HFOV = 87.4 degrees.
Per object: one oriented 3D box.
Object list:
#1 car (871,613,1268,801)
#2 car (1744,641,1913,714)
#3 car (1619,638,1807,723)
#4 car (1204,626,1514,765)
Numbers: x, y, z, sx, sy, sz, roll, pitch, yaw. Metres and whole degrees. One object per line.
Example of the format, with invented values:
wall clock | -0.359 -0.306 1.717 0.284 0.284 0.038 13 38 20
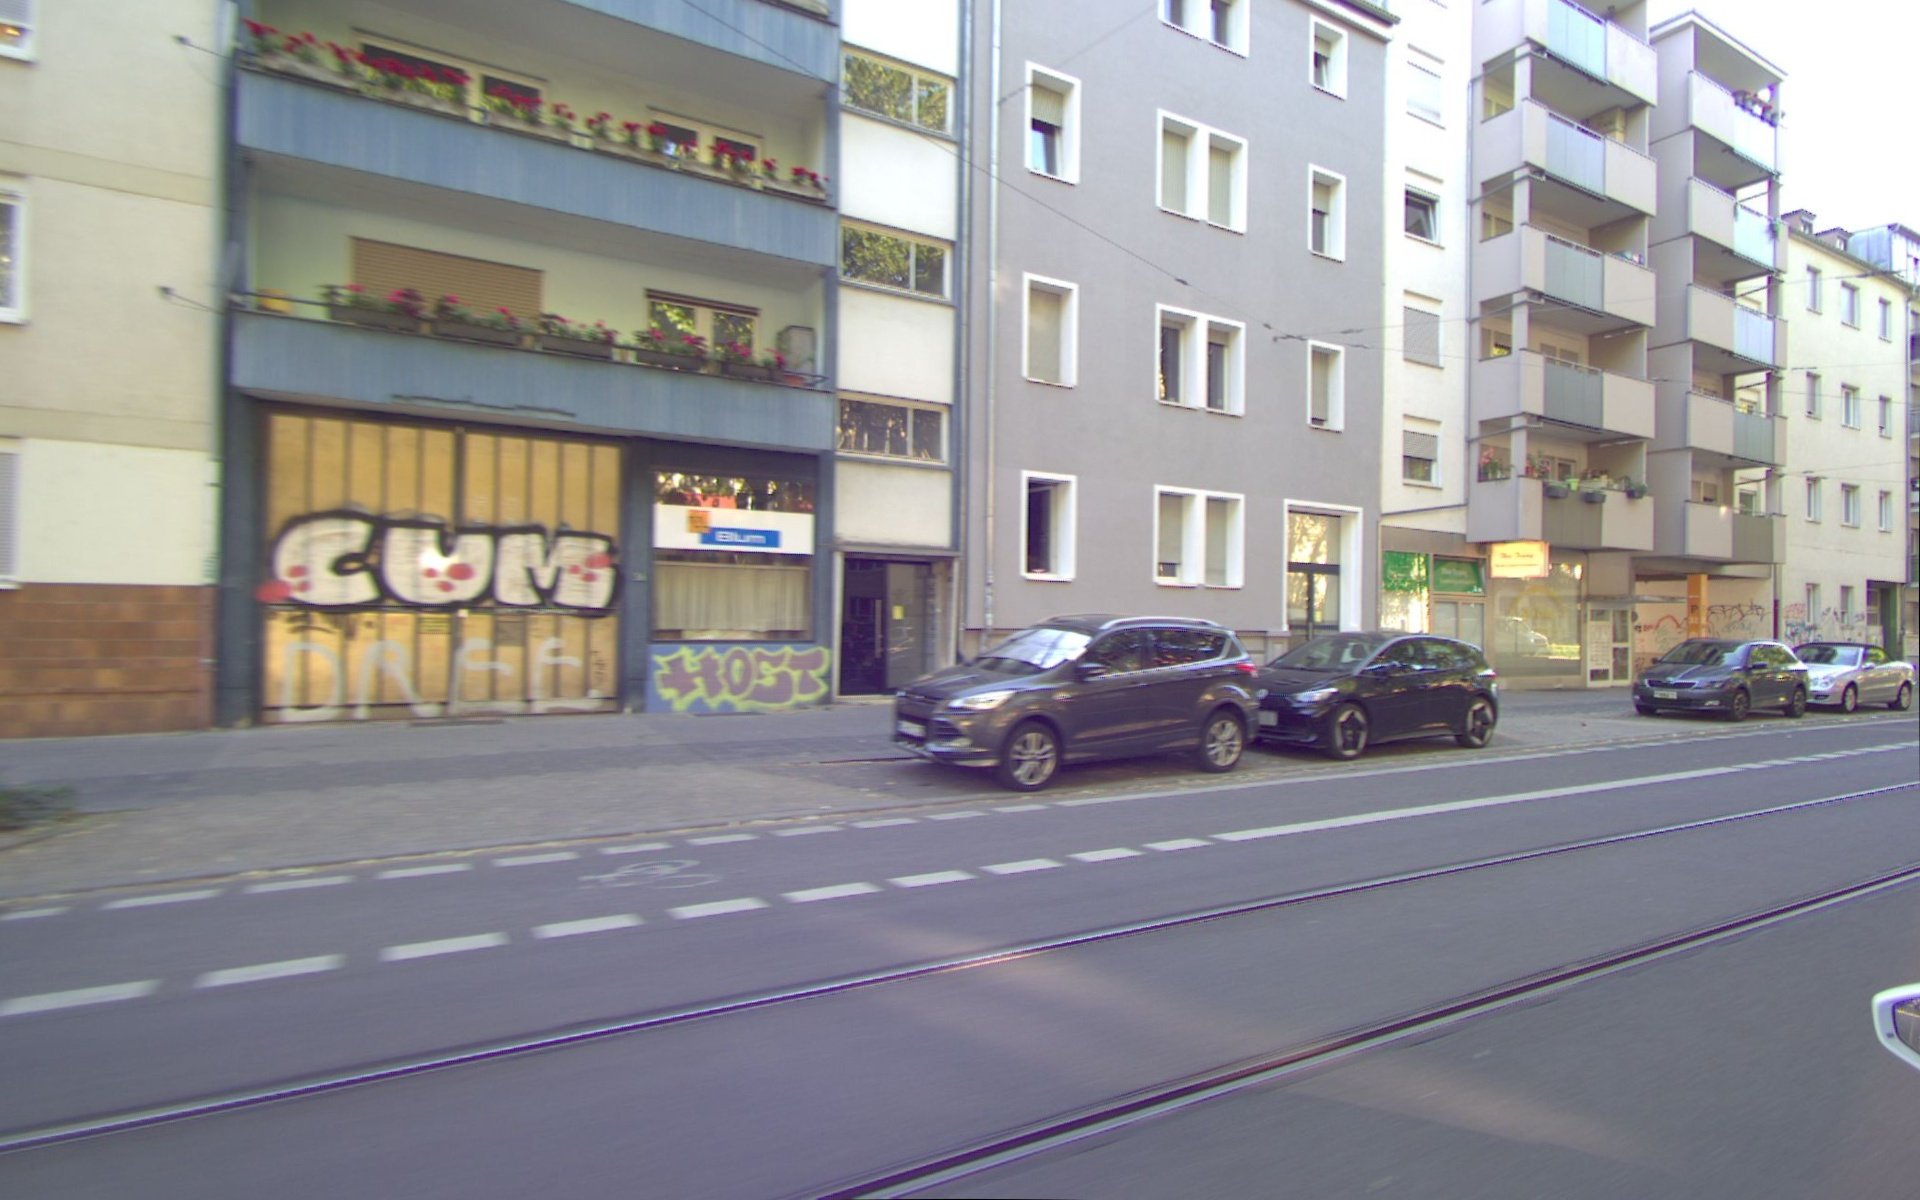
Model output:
car | 1.287 1.036 11.108 4.195 1.672 1.693 1 1 -32
car | 18.724 1.615 21.624 3.941 1.422 1.479 1 -1 -28
car | 14.395 1.459 19.167 3.794 1.456 1.645 1 -1 -32
car | 5.477 1.187 13.667 4.192 1.565 1.694 1 1 -31
